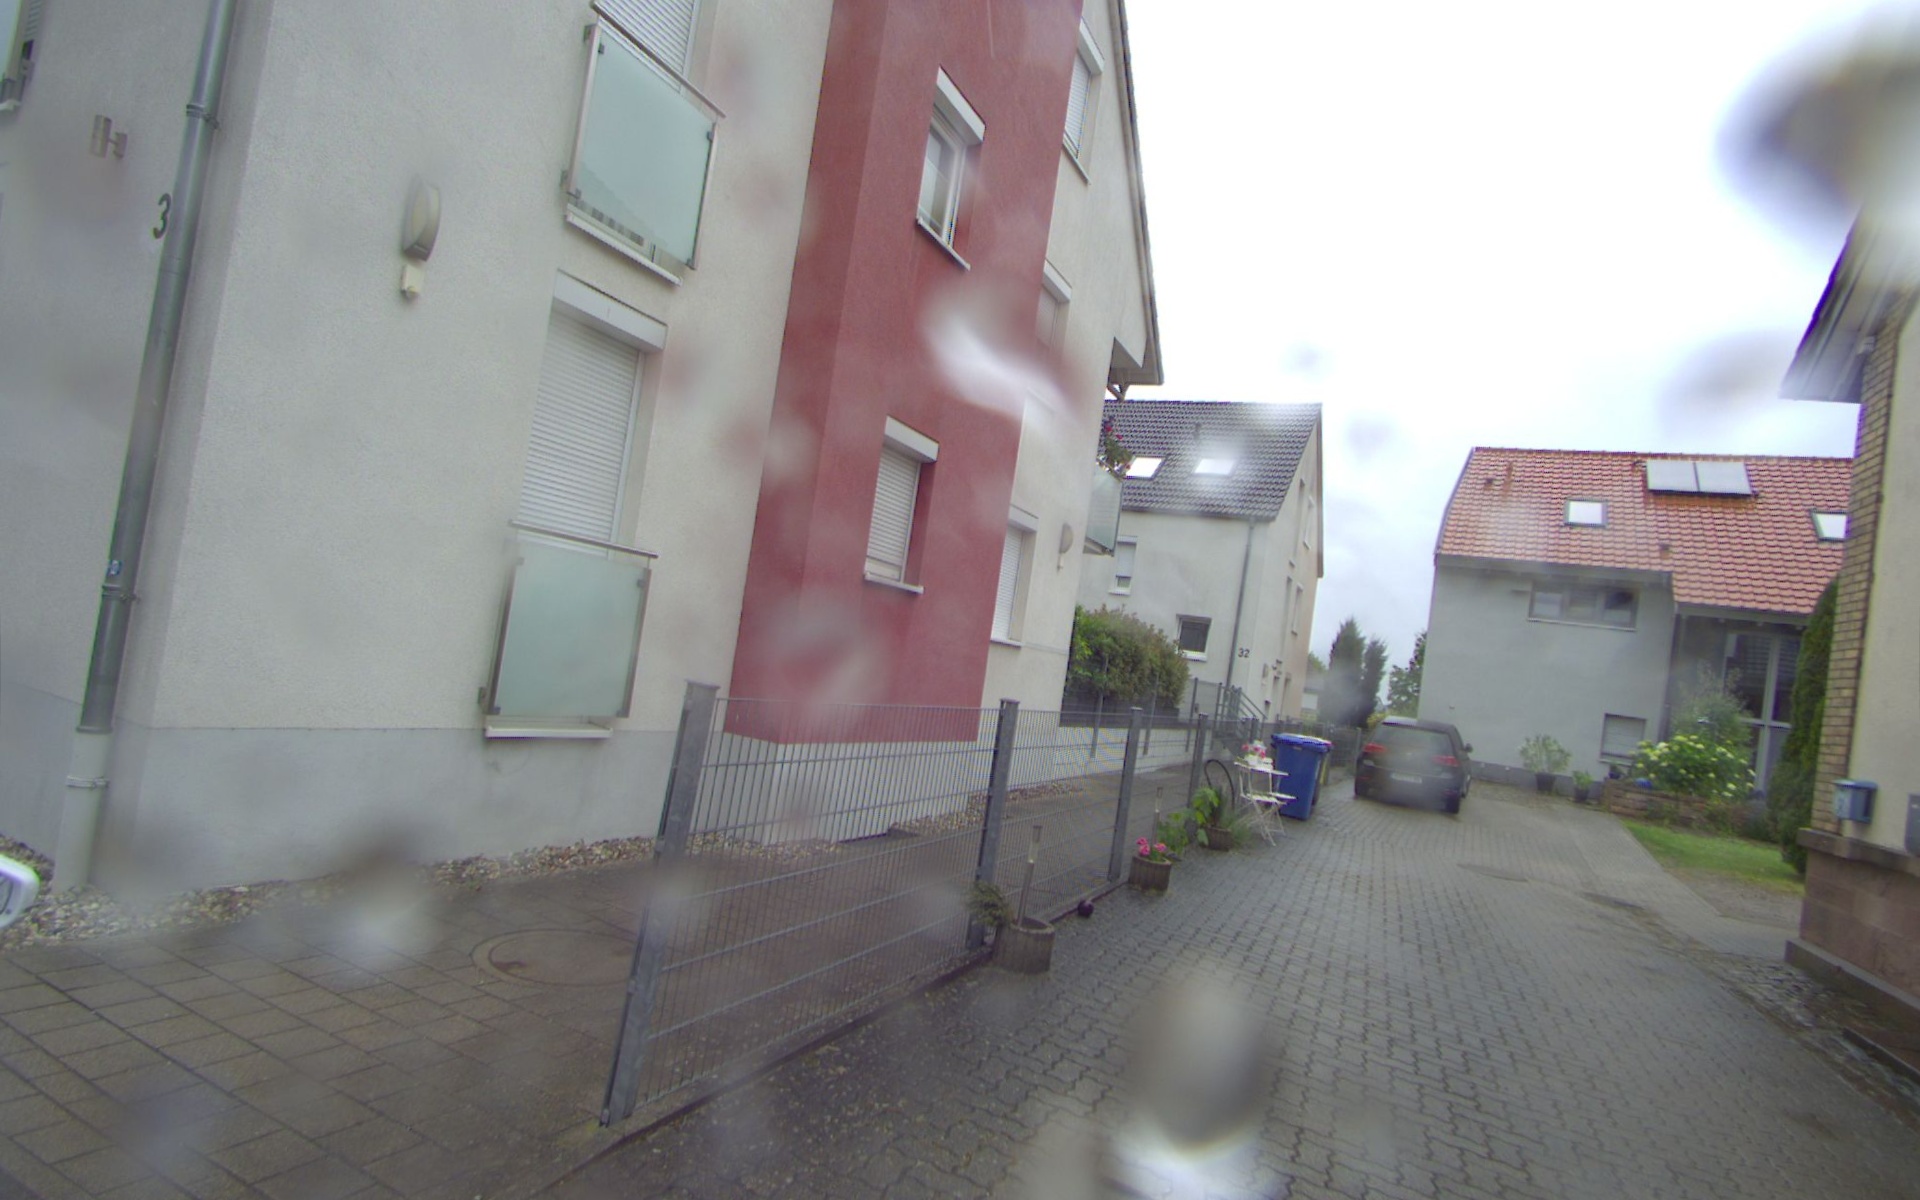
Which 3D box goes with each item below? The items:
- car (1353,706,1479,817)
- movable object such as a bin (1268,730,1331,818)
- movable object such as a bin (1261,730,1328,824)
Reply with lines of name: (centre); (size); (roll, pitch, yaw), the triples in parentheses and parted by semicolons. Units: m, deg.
car: (8.549, 2.887, 18.680); (1.656, 1.491, 3.993); (7, 0, 30)
movable object such as a bin: (4.812, 2.447, 14.238); (0.675, 1.108, 0.536); (7, -2, 25)
movable object such as a bin: (4.483, 2.353, 13.470); (0.675, 1.108, 0.536); (7, -2, 25)
